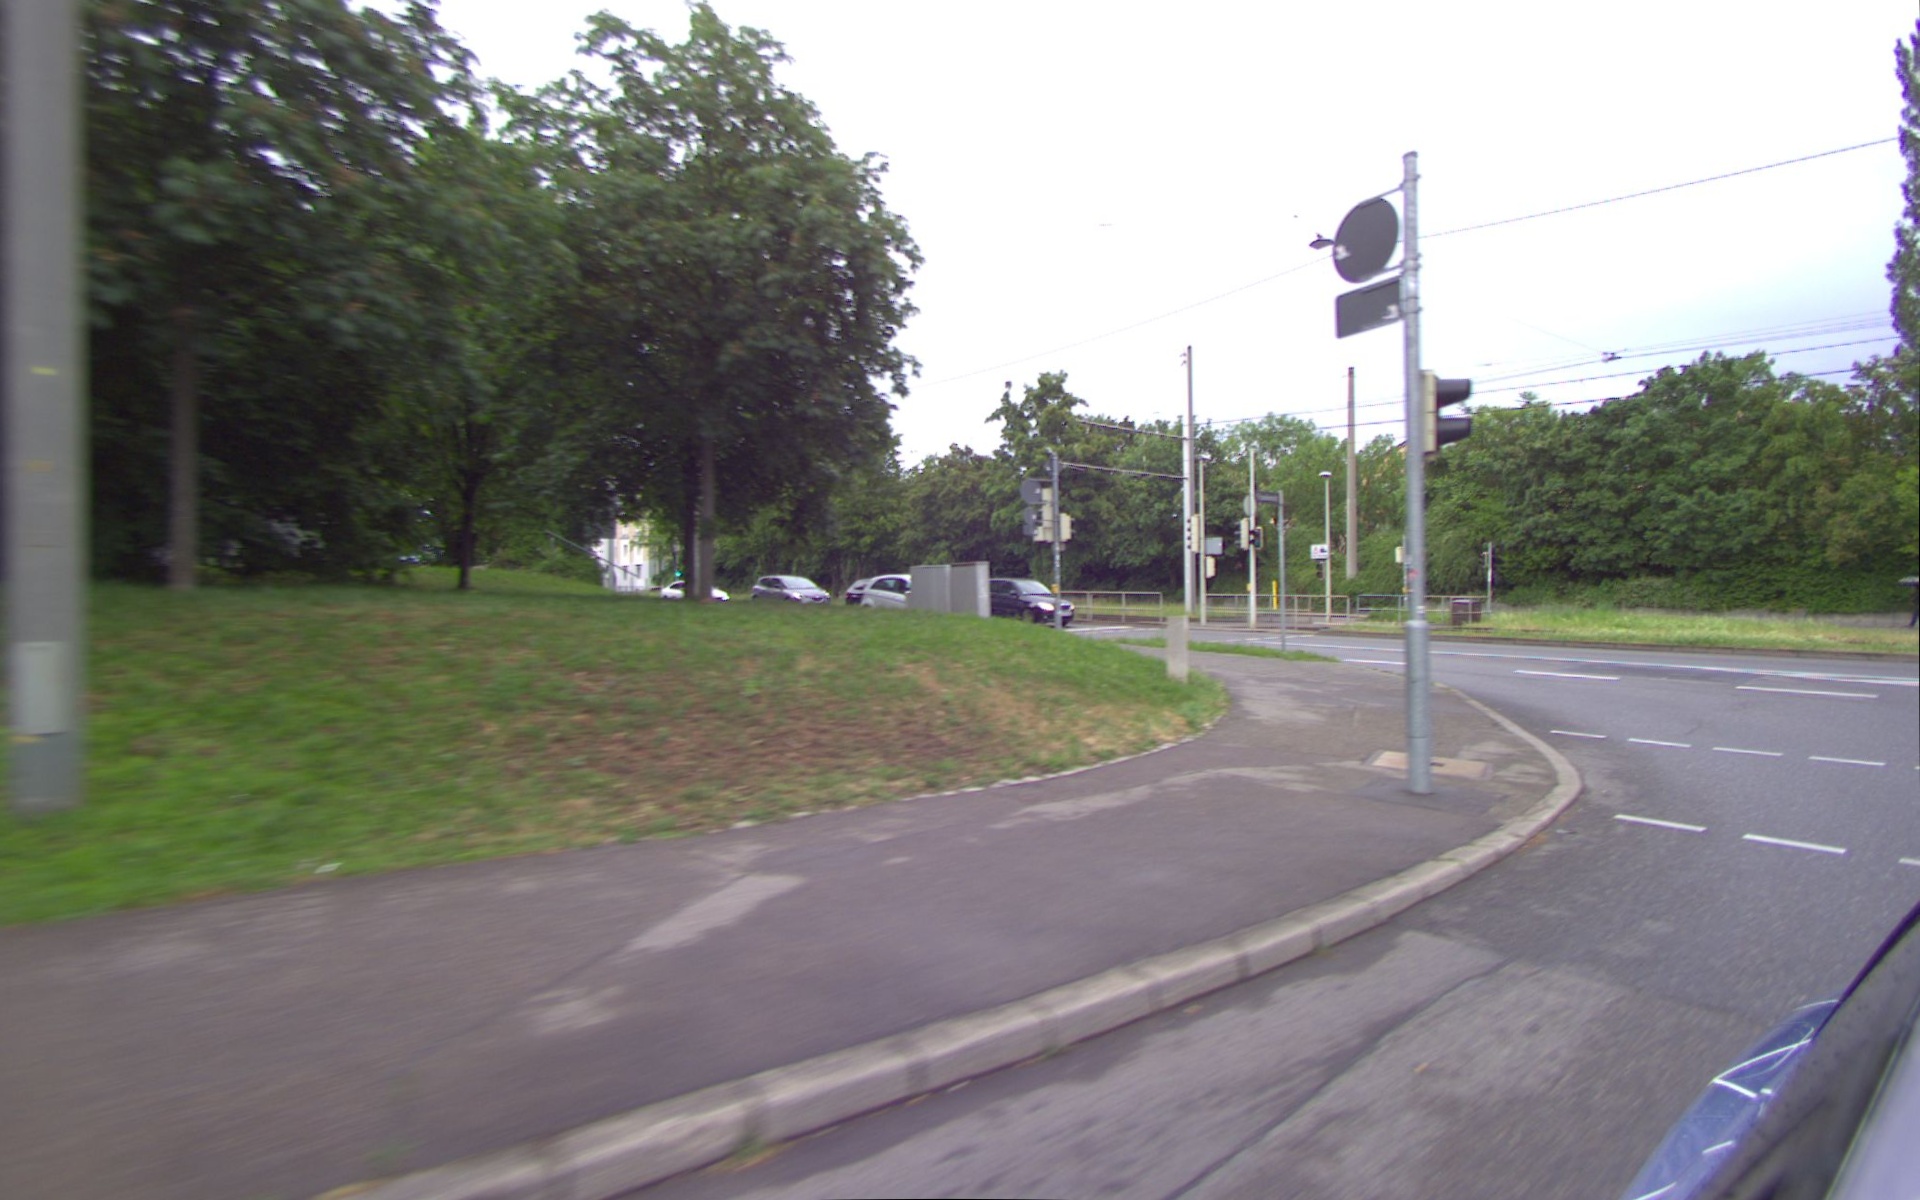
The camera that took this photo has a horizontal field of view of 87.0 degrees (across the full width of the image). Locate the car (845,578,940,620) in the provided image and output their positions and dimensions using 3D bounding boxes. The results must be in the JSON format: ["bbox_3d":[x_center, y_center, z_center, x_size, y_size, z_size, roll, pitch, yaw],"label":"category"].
[{"bbox_3d":[-2.534,-0.079,37.238,1.578,1.419,3.787,-2,2,-40],"label":"car"}]

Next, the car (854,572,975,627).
[{"bbox_3d":[-1.464,-0.066,31.283,1.695,1.573,3.857,-3,3,-41],"label":"car"}]

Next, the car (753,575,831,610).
[{"bbox_3d":[-7.147,-0.352,42.840,1.578,1.419,3.787,-1,2,-40],"label":"car"}]

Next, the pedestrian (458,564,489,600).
[{"bbox_3d":[-22.195,-0.795,46.164,1.000,1.621,1.037,1,0,-45],"label":"pedestrian"}]

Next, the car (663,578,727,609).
[{"bbox_3d":[-12.973,-0.354,49.414,1.578,1.419,3.787,-1,2,-40],"label":"car"}]

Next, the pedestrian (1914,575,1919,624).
[{"bbox_3d":[32.950,-0.016,34.339,0.795,1.628,0.682,2,-4,-37],"label":"pedestrian"}]

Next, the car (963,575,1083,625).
[{"bbox_3d":[1.925,-0.051,31.788,1.578,1.419,3.787,-2,3,-40],"label":"car"}]
